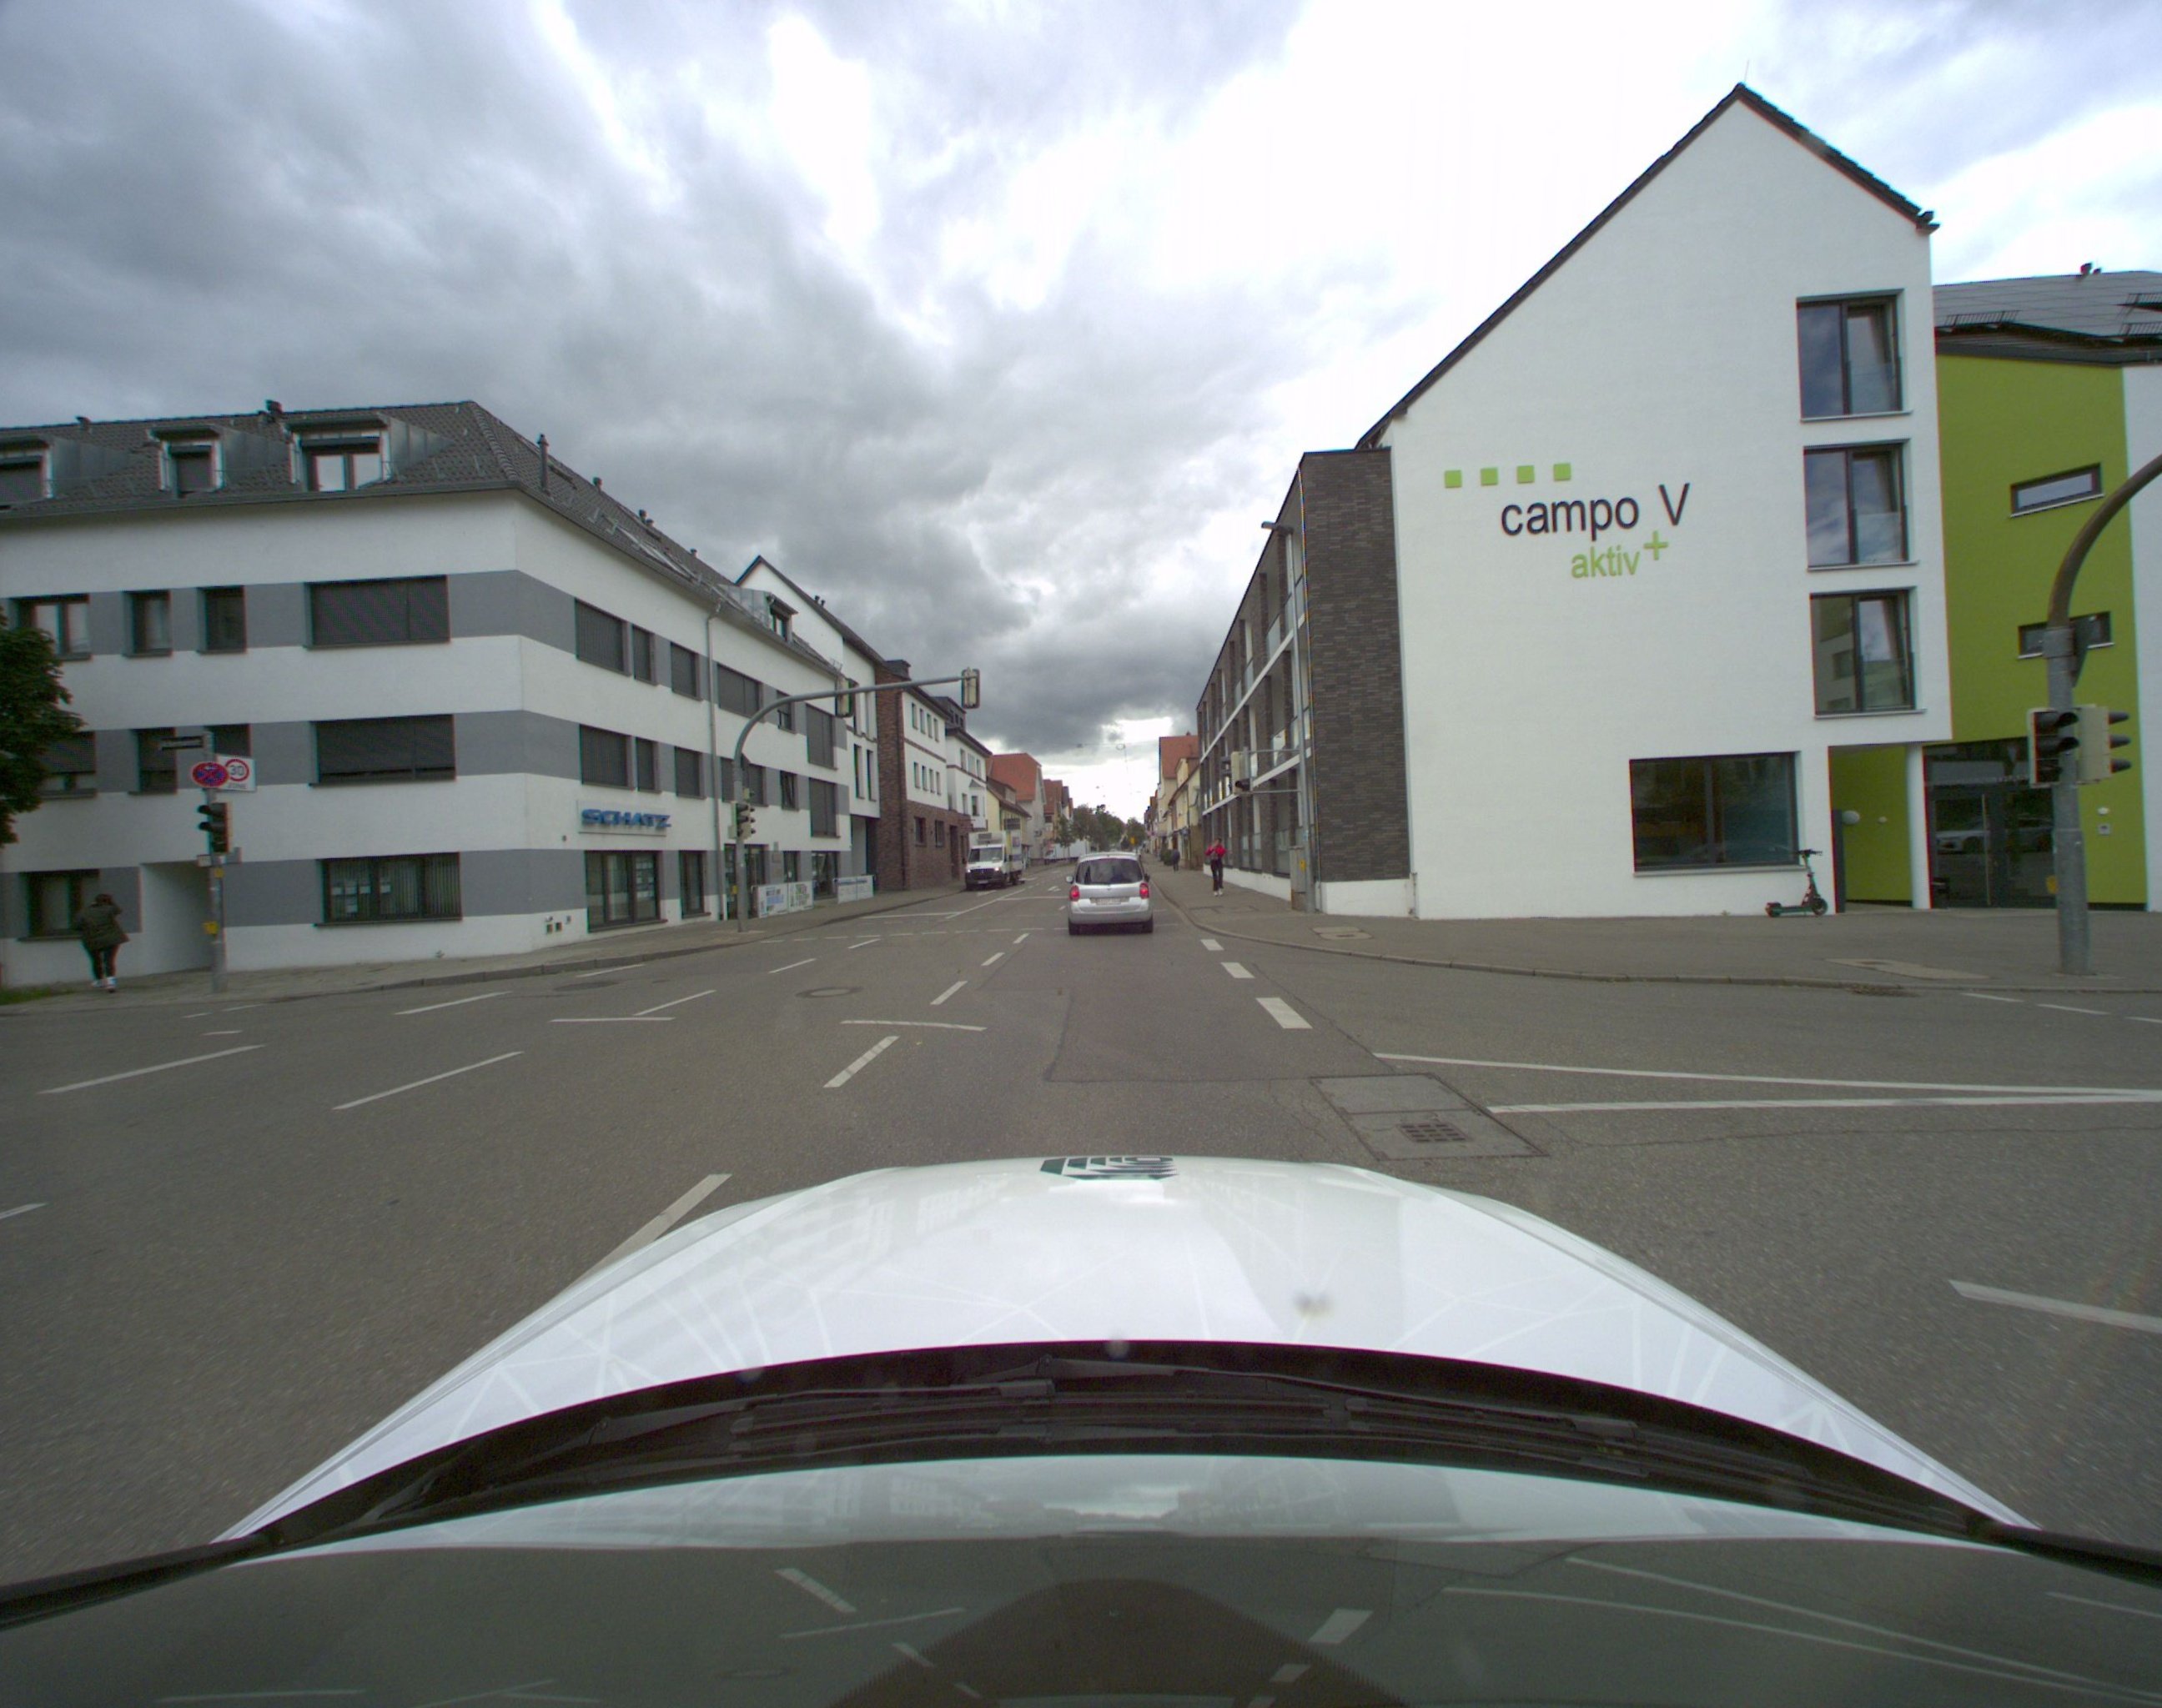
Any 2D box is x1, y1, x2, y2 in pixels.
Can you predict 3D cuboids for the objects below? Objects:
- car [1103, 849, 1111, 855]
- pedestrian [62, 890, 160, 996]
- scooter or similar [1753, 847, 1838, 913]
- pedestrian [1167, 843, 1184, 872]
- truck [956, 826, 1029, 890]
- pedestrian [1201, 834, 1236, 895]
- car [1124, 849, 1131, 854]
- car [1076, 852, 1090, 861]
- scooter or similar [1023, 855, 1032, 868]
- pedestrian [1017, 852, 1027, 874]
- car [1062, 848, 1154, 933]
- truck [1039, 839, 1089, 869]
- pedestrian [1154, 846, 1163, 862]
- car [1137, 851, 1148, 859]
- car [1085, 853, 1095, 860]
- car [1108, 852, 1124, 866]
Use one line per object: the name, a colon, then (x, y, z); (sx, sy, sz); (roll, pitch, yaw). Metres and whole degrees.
car: (6.250, -0.405, 197.703); (1.805, 1.354, 3.861); (-3, 0, 3)
pedestrian: (-16.816, 1.510, 14.124); (0.803, 1.669, 0.890); (-1, 3, 32)
scooter or similar: (13.603, 0.489, 15.516); (1.225, 1.235, 0.407); (-1, 0, 3)
pedestrian: (6.014, 0.233, 52.113); (0.886, 1.786, 0.786); (-5, 0, 3)
truck: (-4.564, 0.192, 43.712); (2.425, 2.953, 8.370); (-3, 0, 3)
pedestrian: (4.224, 0.307, 25.088); (0.804, 1.786, 0.862); (-5, 0, 3)
car: (13.467, -0.732, 236.064); (1.805, 1.354, 4.004); (-3, 0, 3)
car: (0.340, 0.420, 130.059); (1.805, 1.354, 4.004); (-3, 0, 3)
scooter or similar: (-5.696, 0.786, 87.390); (0.573, 1.269, 2.551); (-3, 0, 4)
pedestrian: (-4.670, 0.718, 64.296); (0.659, 1.757, 0.688); (-1, 0, 3)
car: (0.599, 0.674, 17.217); (1.700, 1.579, 4.003); (-1, 0, 3)
truck: (-2.393, -0.008, 115.619); (6.800, 3.857, 2.605); (-2, 0, 1)
pedestrian: (9.104, -0.022, 95.319); (0.886, 1.786, 0.786); (-5, 0, 3)
car: (10.692, 0.200, 141.544); (1.805, 1.354, 4.004); (-3, 0, 3)
car: (1.755, 0.501, 157.311); (1.805, 1.354, 4.004); (-3, 0, 3)
car: (4.001, 0.581, 92.390); (1.700, 1.579, 4.003); (-1, 0, 3)
